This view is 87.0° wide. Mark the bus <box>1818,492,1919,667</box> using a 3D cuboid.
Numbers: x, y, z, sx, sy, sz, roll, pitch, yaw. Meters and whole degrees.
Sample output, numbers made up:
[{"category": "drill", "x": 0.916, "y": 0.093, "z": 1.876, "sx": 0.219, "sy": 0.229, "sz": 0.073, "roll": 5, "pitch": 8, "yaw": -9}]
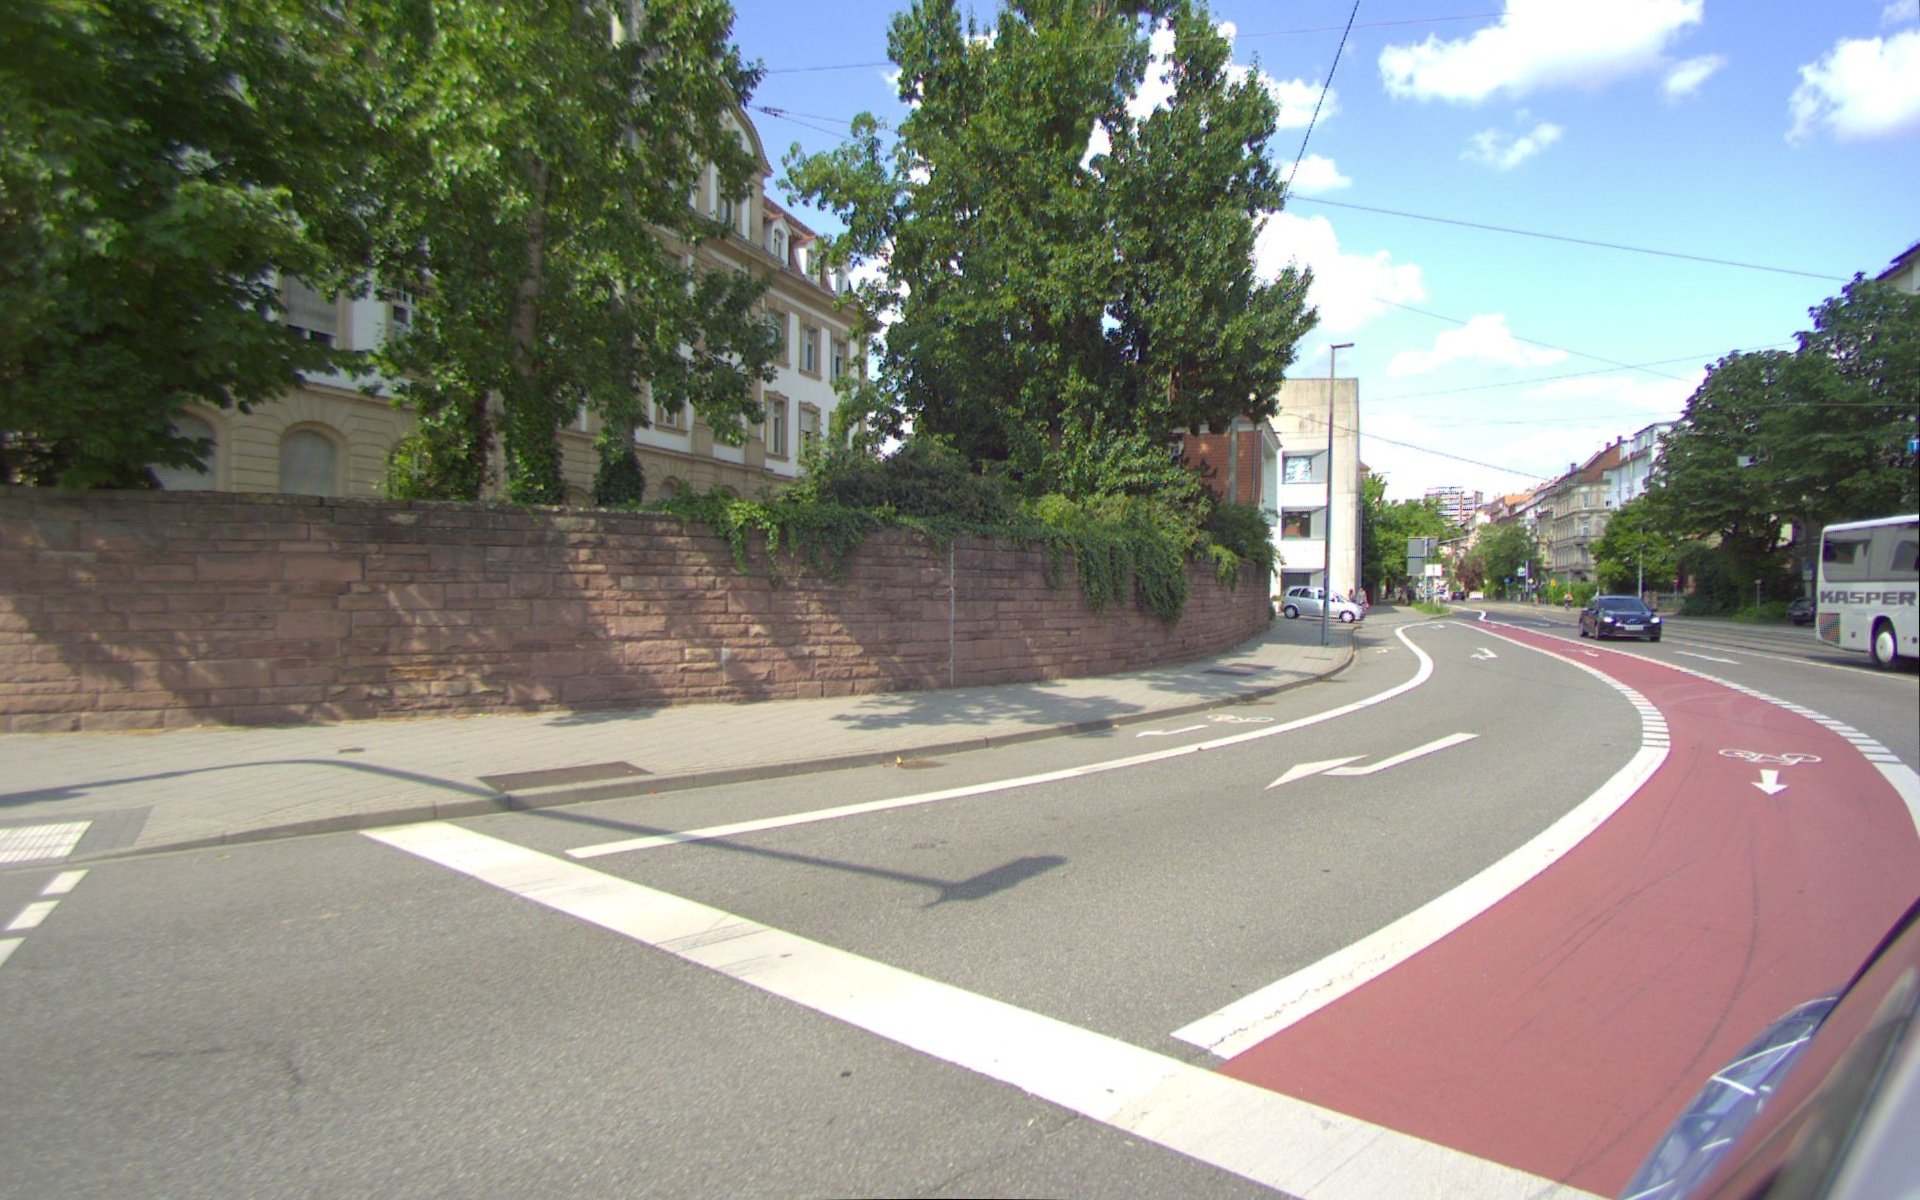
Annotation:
[{"category": "bus", "x": 19.218, "y": -0.362, "z": 17.380, "sx": 2.891, "sy": 3.370, "sz": 12.123, "roll": 0, "pitch": 1, "yaw": 21}]

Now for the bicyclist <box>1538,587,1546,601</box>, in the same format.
[{"category": "bicyclist", "x": 63.276, "y": -0.632, "z": 110.025, "sx": 0.595, "sy": 1.510, "sz": 0.875, "roll": 7, "pitch": 2, "yaw": 24}]

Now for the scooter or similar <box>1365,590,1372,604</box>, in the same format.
[{"category": "scooter or similar", "x": 34.131, "y": -0.273, "z": 84.618, "sx": 0.321, "sy": 1.196, "sz": 1.134, "roll": 1, "pitch": 1, "yaw": 34}]

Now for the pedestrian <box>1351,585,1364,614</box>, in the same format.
[{"category": "pedestrian", "x": 22.248, "y": -0.043, "z": 56.667, "sx": 0.513, "sy": 1.600, "sz": 0.546, "roll": 3, "pitch": 0, "yaw": 12}]

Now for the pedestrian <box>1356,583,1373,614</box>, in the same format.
[{"category": "pedestrian", "x": 23.260, "y": -0.087, "z": 58.133, "sx": 0.683, "sy": 1.746, "sz": 0.737, "roll": 2, "pitch": 0, "yaw": 37}]

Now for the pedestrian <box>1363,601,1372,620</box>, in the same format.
[{"category": "pedestrian", "x": 22.655, "y": 0.589, "z": 56.245, "sx": 0.338, "sy": 1.023, "sz": 0.395, "roll": 3, "pitch": 0, "yaw": 13}]

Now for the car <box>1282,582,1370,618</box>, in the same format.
[{"category": "car", "x": 17.692, "y": 0.016, "z": 48.948, "sx": 3.853, "sy": 1.625, "sz": 1.650, "roll": 1, "pitch": -1, "yaw": 26}]

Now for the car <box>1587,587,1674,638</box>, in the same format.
[{"category": "car", "x": 22.481, "y": 0.373, "z": 34.074, "sx": 1.675, "sy": 1.597, "sz": 4.125, "roll": 1, "pitch": 1, "yaw": 23}]

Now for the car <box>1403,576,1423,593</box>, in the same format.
[{"category": "car", "x": 53.166, "y": -1.794, "z": 118.889, "sx": 1.879, "sy": 1.965, "sz": 4.916, "roll": 1, "pitch": 1, "yaw": 21}]

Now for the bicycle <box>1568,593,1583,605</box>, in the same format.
[{"category": "bicycle", "x": 55.139, "y": -0.097, "z": 90.618, "sx": 0.692, "sy": 1.030, "sz": 1.809, "roll": 2, "pitch": 1, "yaw": 18}]

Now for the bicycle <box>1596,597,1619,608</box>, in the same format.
[{"category": "bicycle", "x": 58.079, "y": 0.211, "z": 90.802, "sx": 1.132, "sy": 0.920, "sz": 2.967, "roll": -2, "pitch": 0, "yaw": 21}]

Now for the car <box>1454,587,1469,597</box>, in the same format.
[{"category": "car", "x": 78.474, "y": -1.246, "z": 158.284, "sx": 1.674, "sy": 1.419, "sz": 3.903, "roll": 3, "pitch": 2, "yaw": 21}]

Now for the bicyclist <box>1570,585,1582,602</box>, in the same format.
[{"category": "bicyclist", "x": 55.159, "y": -0.569, "z": 90.657, "sx": 0.684, "sy": 1.538, "sz": 0.863, "roll": 2, "pitch": 1, "yaw": 19}]

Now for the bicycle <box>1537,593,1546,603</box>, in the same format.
[{"category": "bicycle", "x": 63.232, "y": -0.219, "z": 110.035, "sx": 0.598, "sy": 1.110, "sz": 2.006, "roll": 7, "pitch": 2, "yaw": 24}]

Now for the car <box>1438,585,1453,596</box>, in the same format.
[{"category": "car", "x": 89.219, "y": -1.682, "z": 186.133, "sx": 1.880, "sy": 1.931, "sz": 5.348, "roll": 1, "pitch": 1, "yaw": 20}]
